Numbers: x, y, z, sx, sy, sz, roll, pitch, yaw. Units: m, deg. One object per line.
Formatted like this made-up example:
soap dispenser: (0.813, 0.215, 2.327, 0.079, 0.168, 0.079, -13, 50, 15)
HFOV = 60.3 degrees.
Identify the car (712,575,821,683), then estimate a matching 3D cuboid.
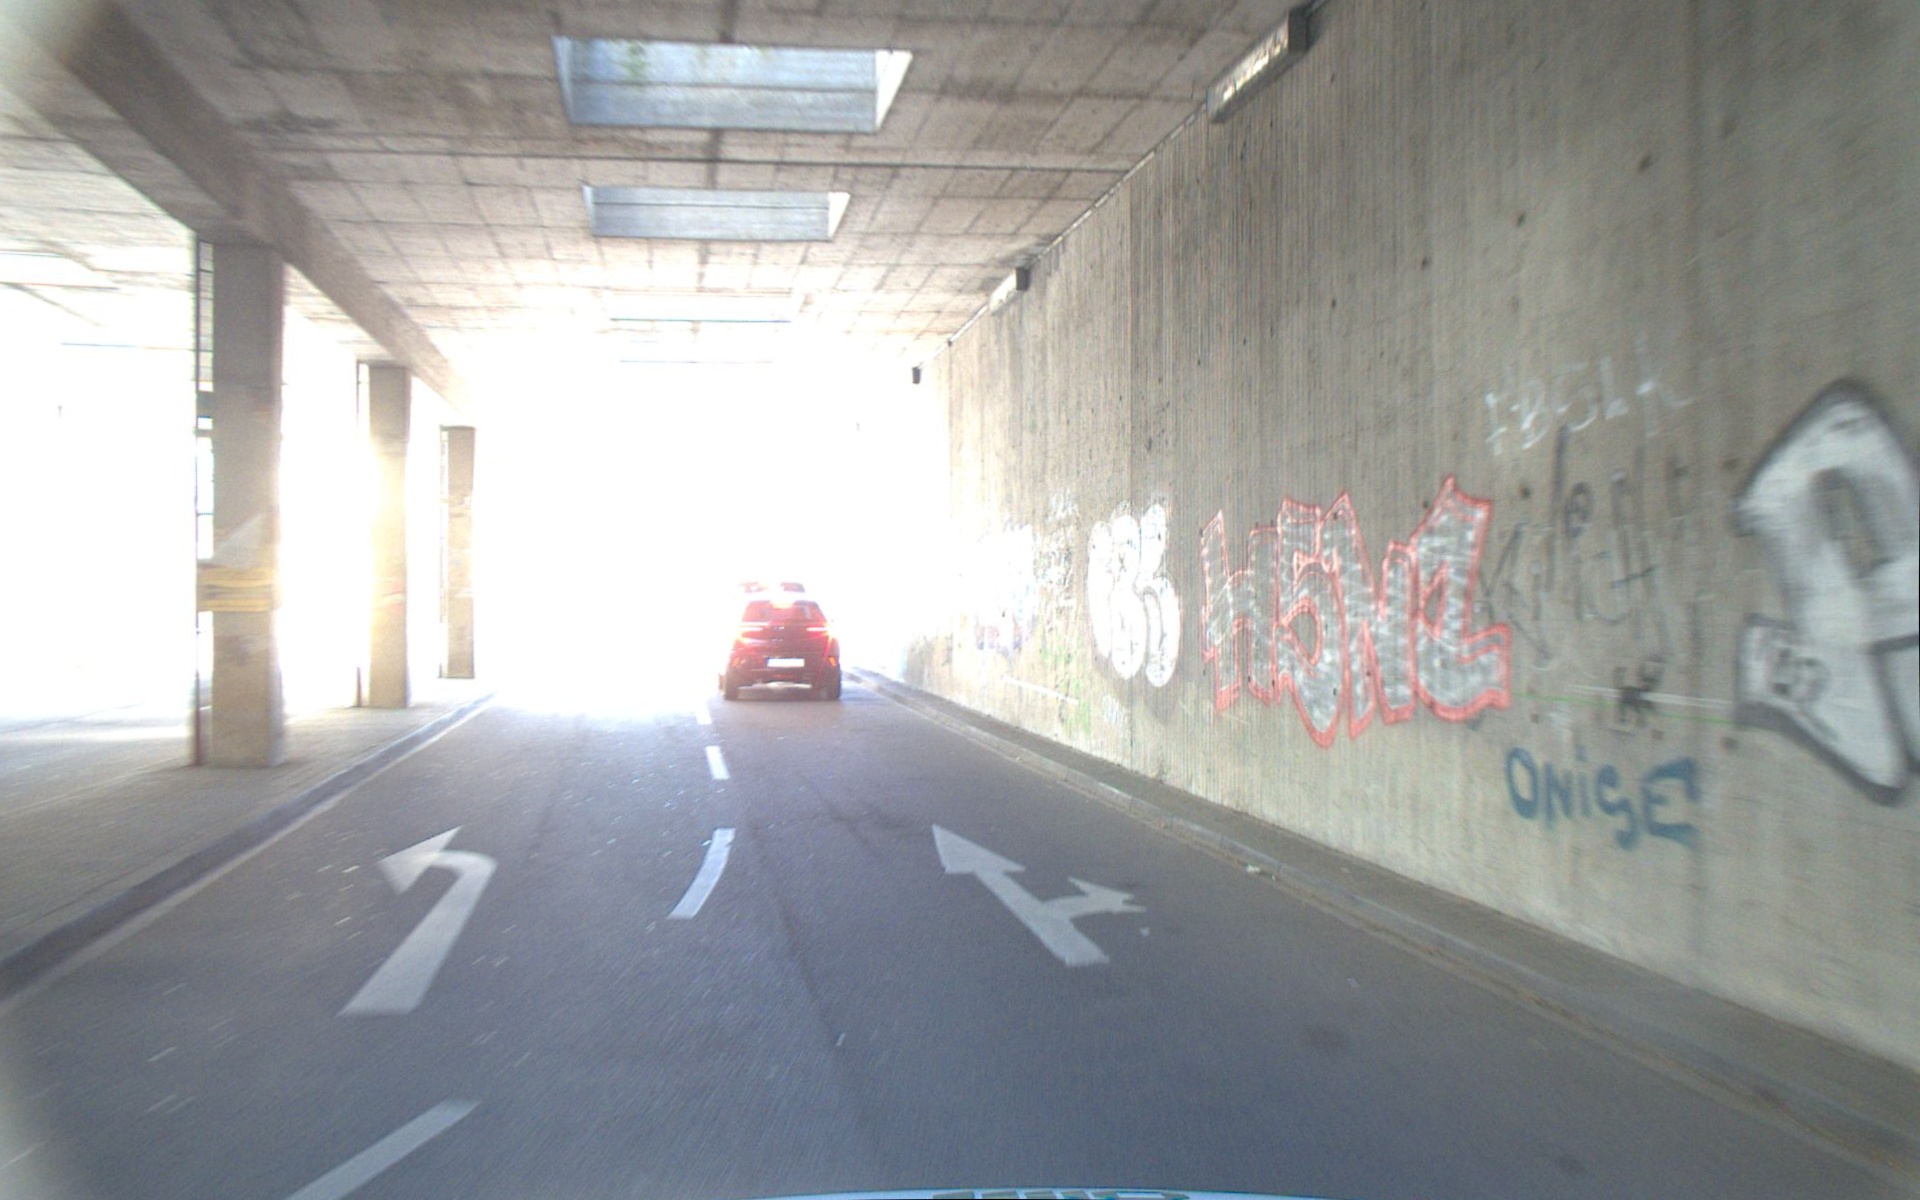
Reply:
car: (-3.812, 0.504, 32.006, 1.782, 1.915, 4.574, -1, 0, -10)

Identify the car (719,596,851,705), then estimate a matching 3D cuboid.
car: (-2.805, 0.719, 25.805, 1.793, 1.527, 4.201, 0, 0, -10)

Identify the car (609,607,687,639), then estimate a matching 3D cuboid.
car: (-16.357, 1.194, 86.877, 3.910, 1.601, 1.637, 0, 0, -7)

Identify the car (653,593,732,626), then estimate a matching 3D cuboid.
car: (-14.748, 0.522, 91.451, 4.068, 1.769, 1.999, -1, 0, -3)

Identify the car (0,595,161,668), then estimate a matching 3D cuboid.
car: (-26.576, 0.911, 49.489, 4.398, 2.048, 1.996, 0, 2, -11)
